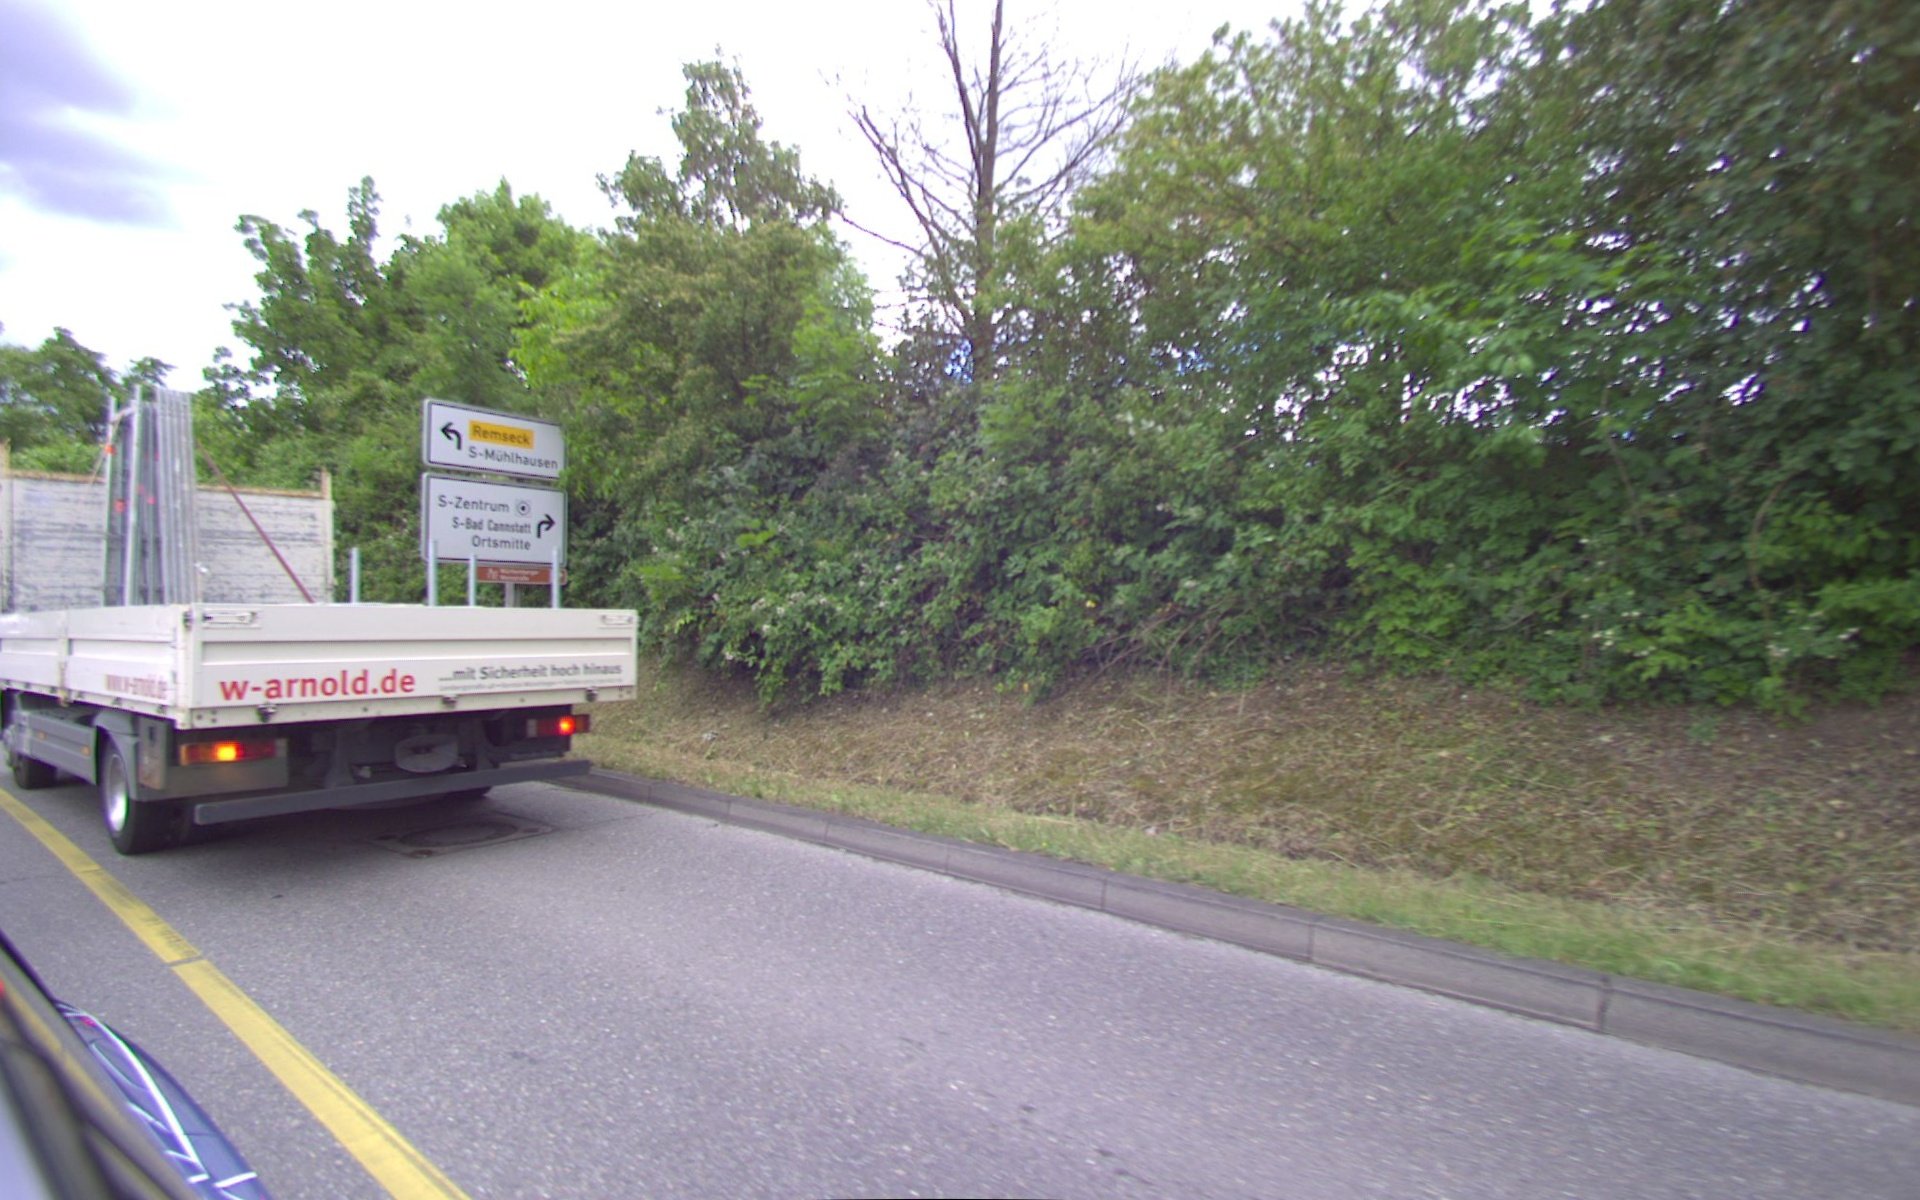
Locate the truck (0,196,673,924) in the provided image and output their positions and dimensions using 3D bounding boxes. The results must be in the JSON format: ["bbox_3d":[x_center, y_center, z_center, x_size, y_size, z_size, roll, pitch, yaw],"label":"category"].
[{"bbox_3d":[-5.656,-0.178,8.091,7.606,3.282,2.723,0,0,41],"label":"truck"}]
